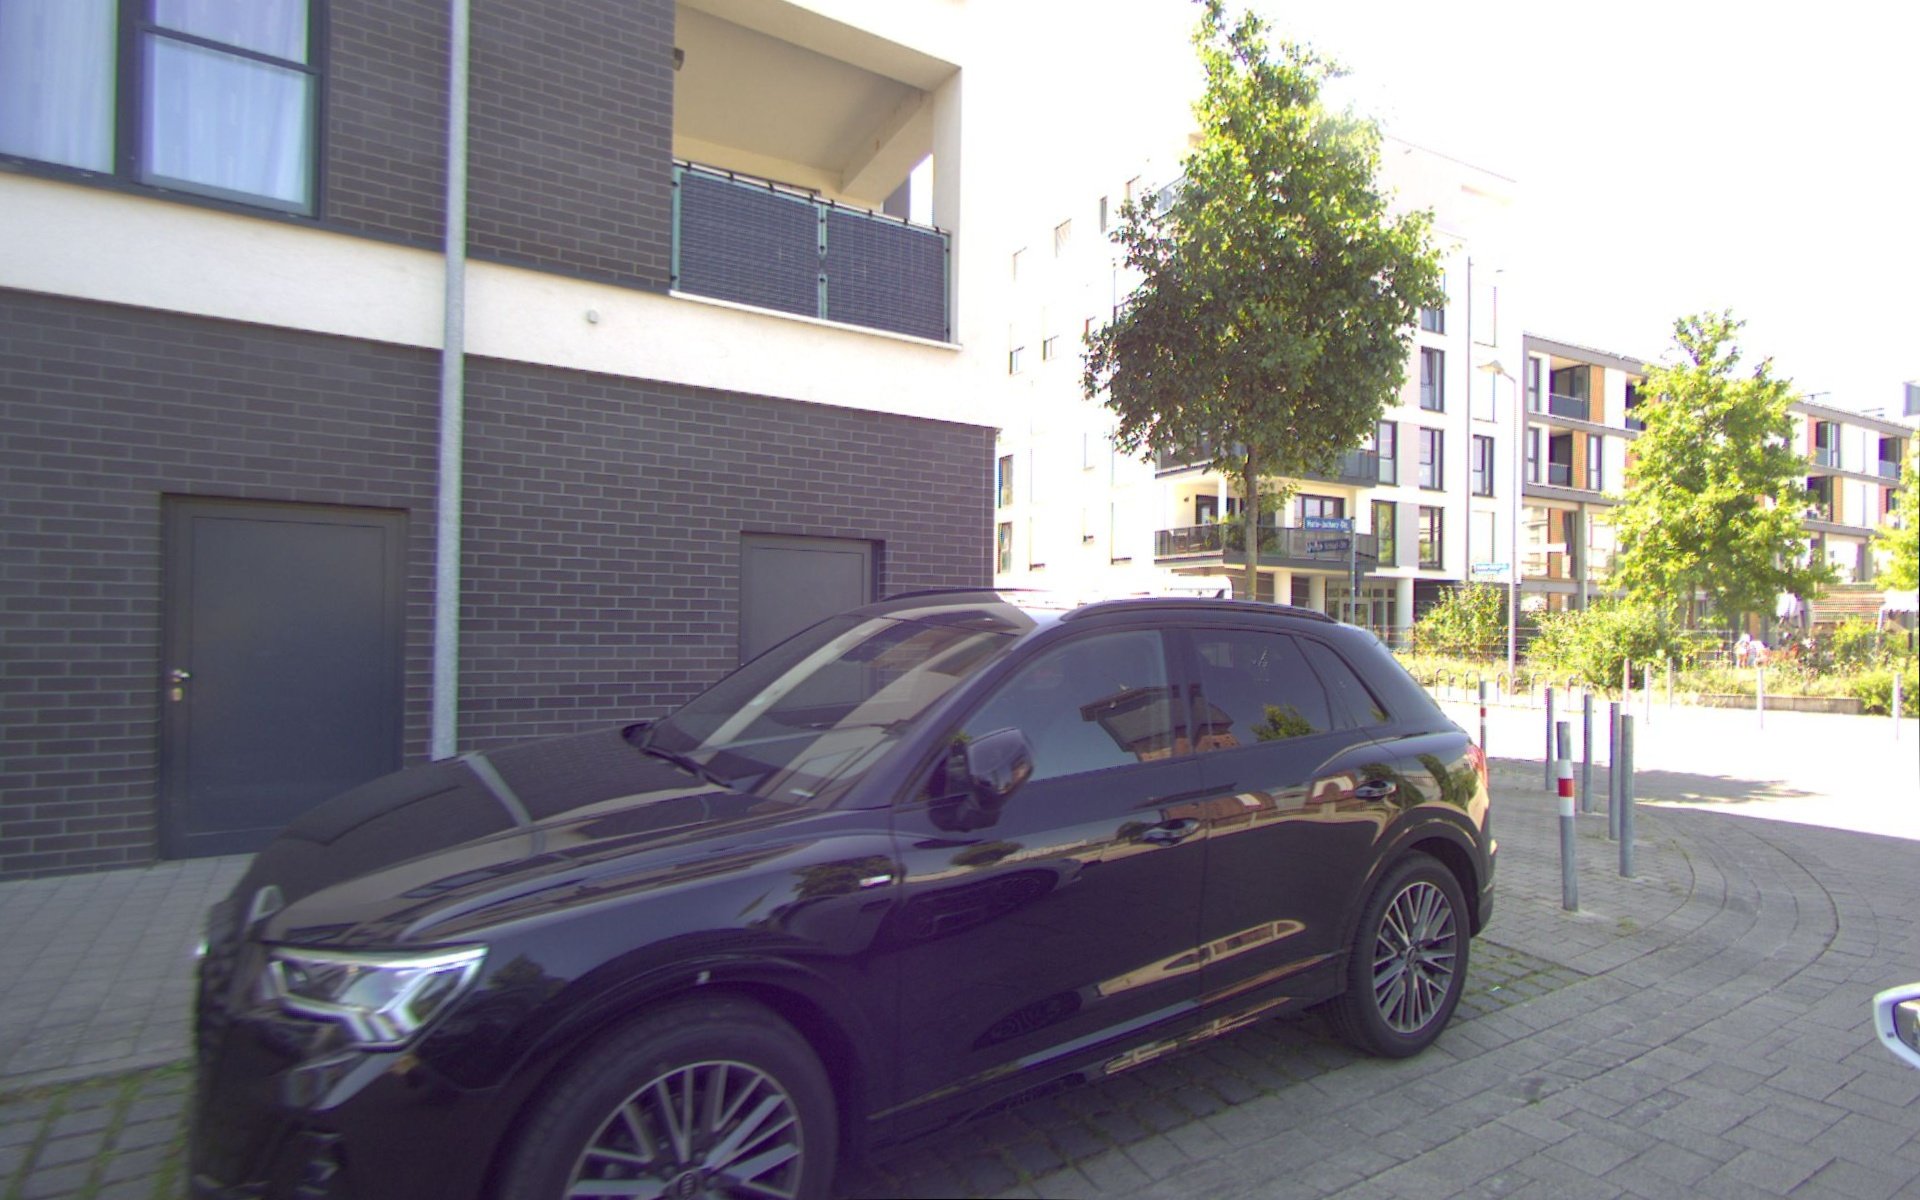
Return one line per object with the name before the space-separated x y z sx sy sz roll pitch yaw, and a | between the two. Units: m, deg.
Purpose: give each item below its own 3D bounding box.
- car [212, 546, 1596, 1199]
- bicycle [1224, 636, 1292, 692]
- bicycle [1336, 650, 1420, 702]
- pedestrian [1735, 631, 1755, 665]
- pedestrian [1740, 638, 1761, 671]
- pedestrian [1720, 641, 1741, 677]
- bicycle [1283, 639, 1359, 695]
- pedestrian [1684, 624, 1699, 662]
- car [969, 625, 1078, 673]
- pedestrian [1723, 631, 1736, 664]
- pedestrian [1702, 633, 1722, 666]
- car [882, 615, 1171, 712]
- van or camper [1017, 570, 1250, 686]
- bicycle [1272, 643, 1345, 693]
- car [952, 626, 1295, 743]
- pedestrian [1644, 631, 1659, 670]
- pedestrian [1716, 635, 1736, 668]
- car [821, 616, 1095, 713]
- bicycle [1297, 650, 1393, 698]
car | 0.199 0.724 3.480 4.350 1.540 1.763 2 0 -34
bicycle | 7.475 1.576 25.154 1.909 1.239 0.816 -1 1 -44
bicycle | 9.152 1.635 21.960 2.016 1.016 0.865 0 -1 -40
pedestrian | 24.763 1.517 31.692 0.408 1.039 0.393 3 -2 -39
pedestrian | 23.657 1.627 30.053 0.286 0.984 0.386 2 -1 -16
pedestrian | 23.181 1.771 30.238 0.403 1.038 0.282 2 -2 4
bicycle | 8.394 1.537 23.348 1.832 1.239 0.552 0 -1 -27
pedestrian | 30.362 1.781 41.677 0.389 1.528 0.463 1 -1 21
car | 2.142 1.639 35.020 1.791 1.525 4.228 -1 -1 -30
pedestrian | 25.351 1.561 33.090 0.317 1.067 0.289 0 -1 39
pedestrian | 24.008 1.577 32.082 0.403 1.038 0.315 2 -2 4
car | 1.217 1.131 17.378 4.778 1.468 1.813 4 -3 -30
van or camper | 4.738 0.854 29.335 2.417 2.944 7.769 2 -3 -28
bicycle | 8.217 1.594 23.678 1.865 1.125 0.472 1 -1 -27
car | 2.537 1.194 15.107 5.056 1.504 1.913 2 -2 -30
pedestrian | 30.566 2.222 44.402 0.459 1.713 0.392 2 -1 -38
pedestrian | 24.541 1.655 32.189 0.403 1.038 0.315 2 -2 4
car | 0.017 1.199 19.453 4.986 1.654 2.026 2 -1 -30
bicycle | 8.737 1.664 22.817 1.828 0.988 0.942 0 -1 -15
